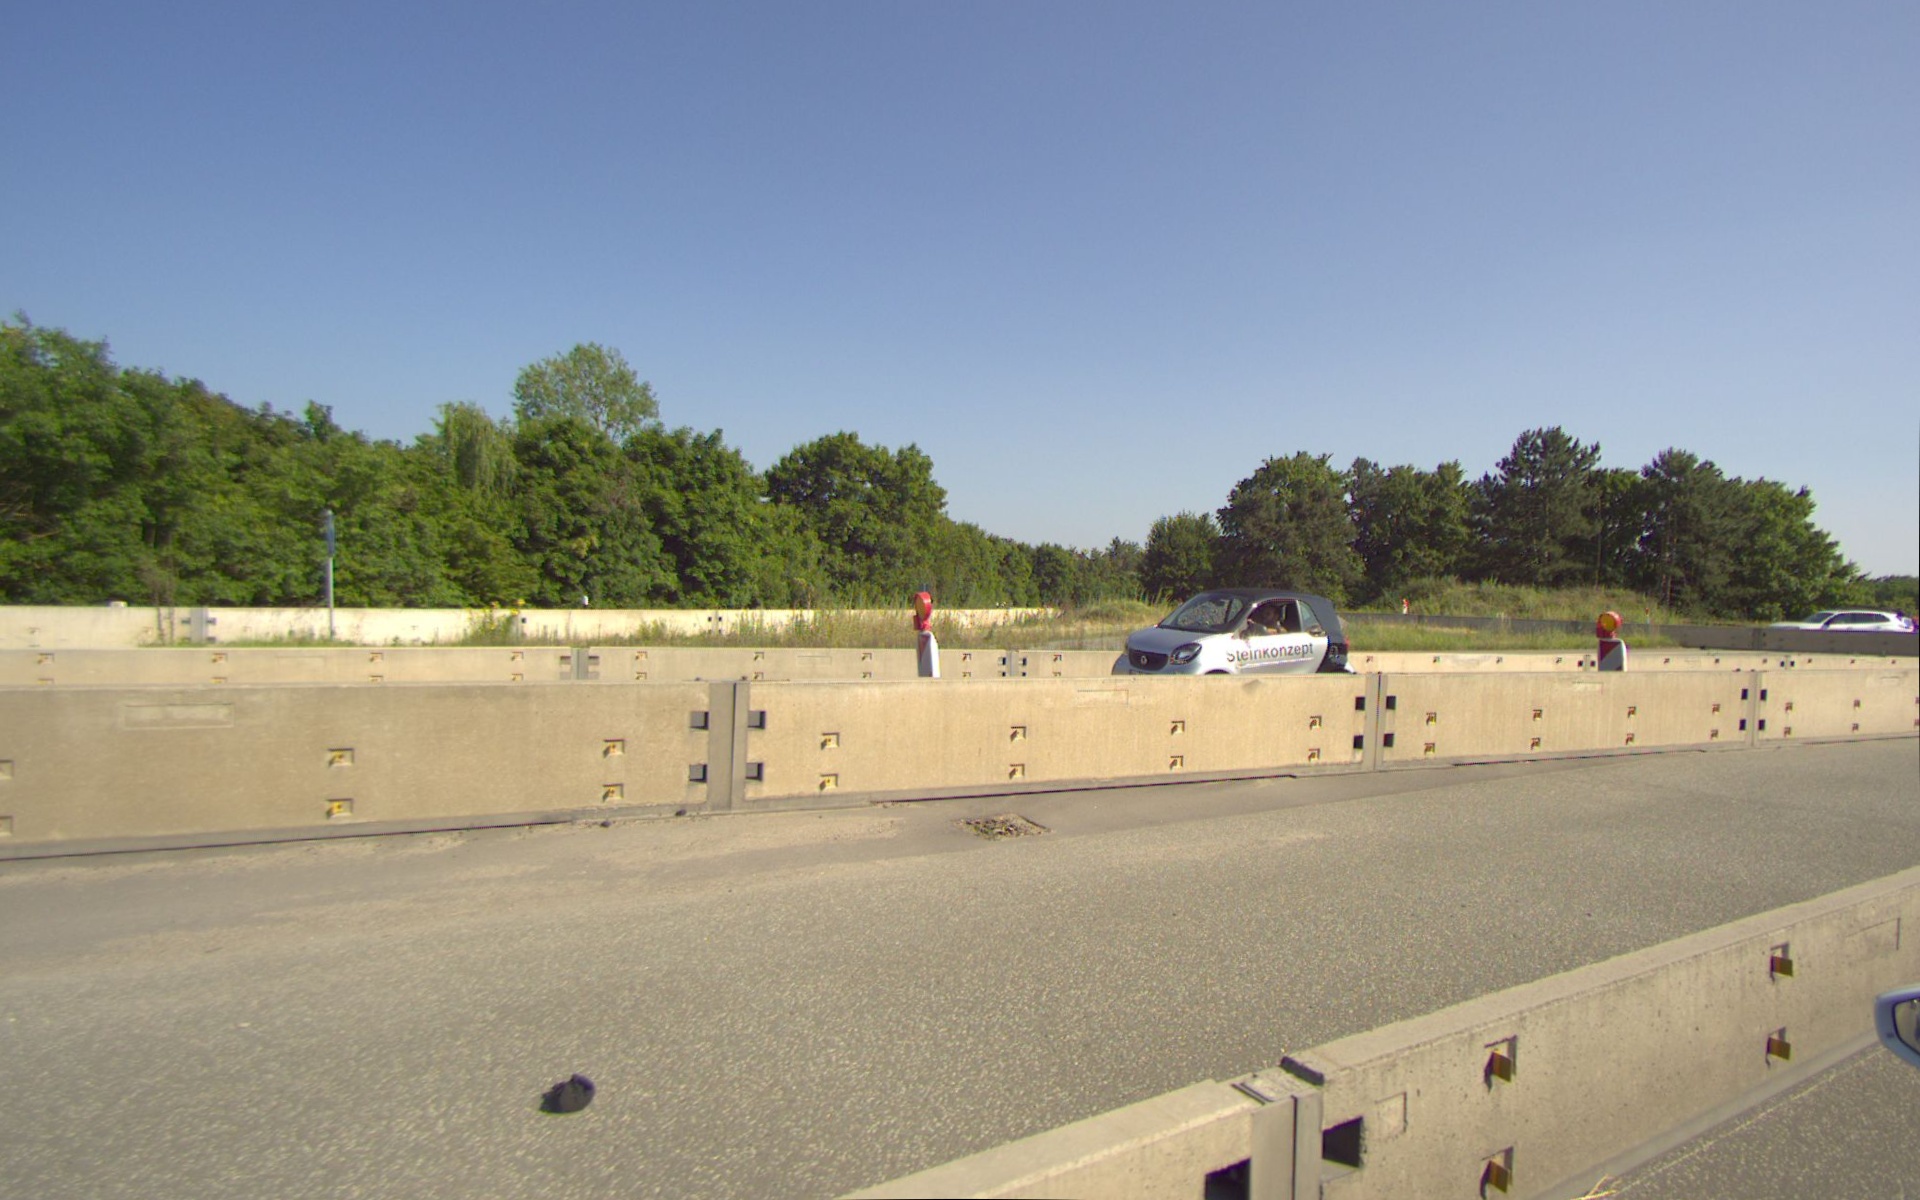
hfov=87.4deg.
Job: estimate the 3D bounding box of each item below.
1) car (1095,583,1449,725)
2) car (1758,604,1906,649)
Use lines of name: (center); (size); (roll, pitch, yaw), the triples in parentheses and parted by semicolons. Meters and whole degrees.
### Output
car: (3.909, 0.613, 12.550); (4.120, 1.536, 1.706); (1, 1, -24)
car: (34.600, 1.006, 39.973); (3.919, 1.575, 1.961); (2, 1, 13)
